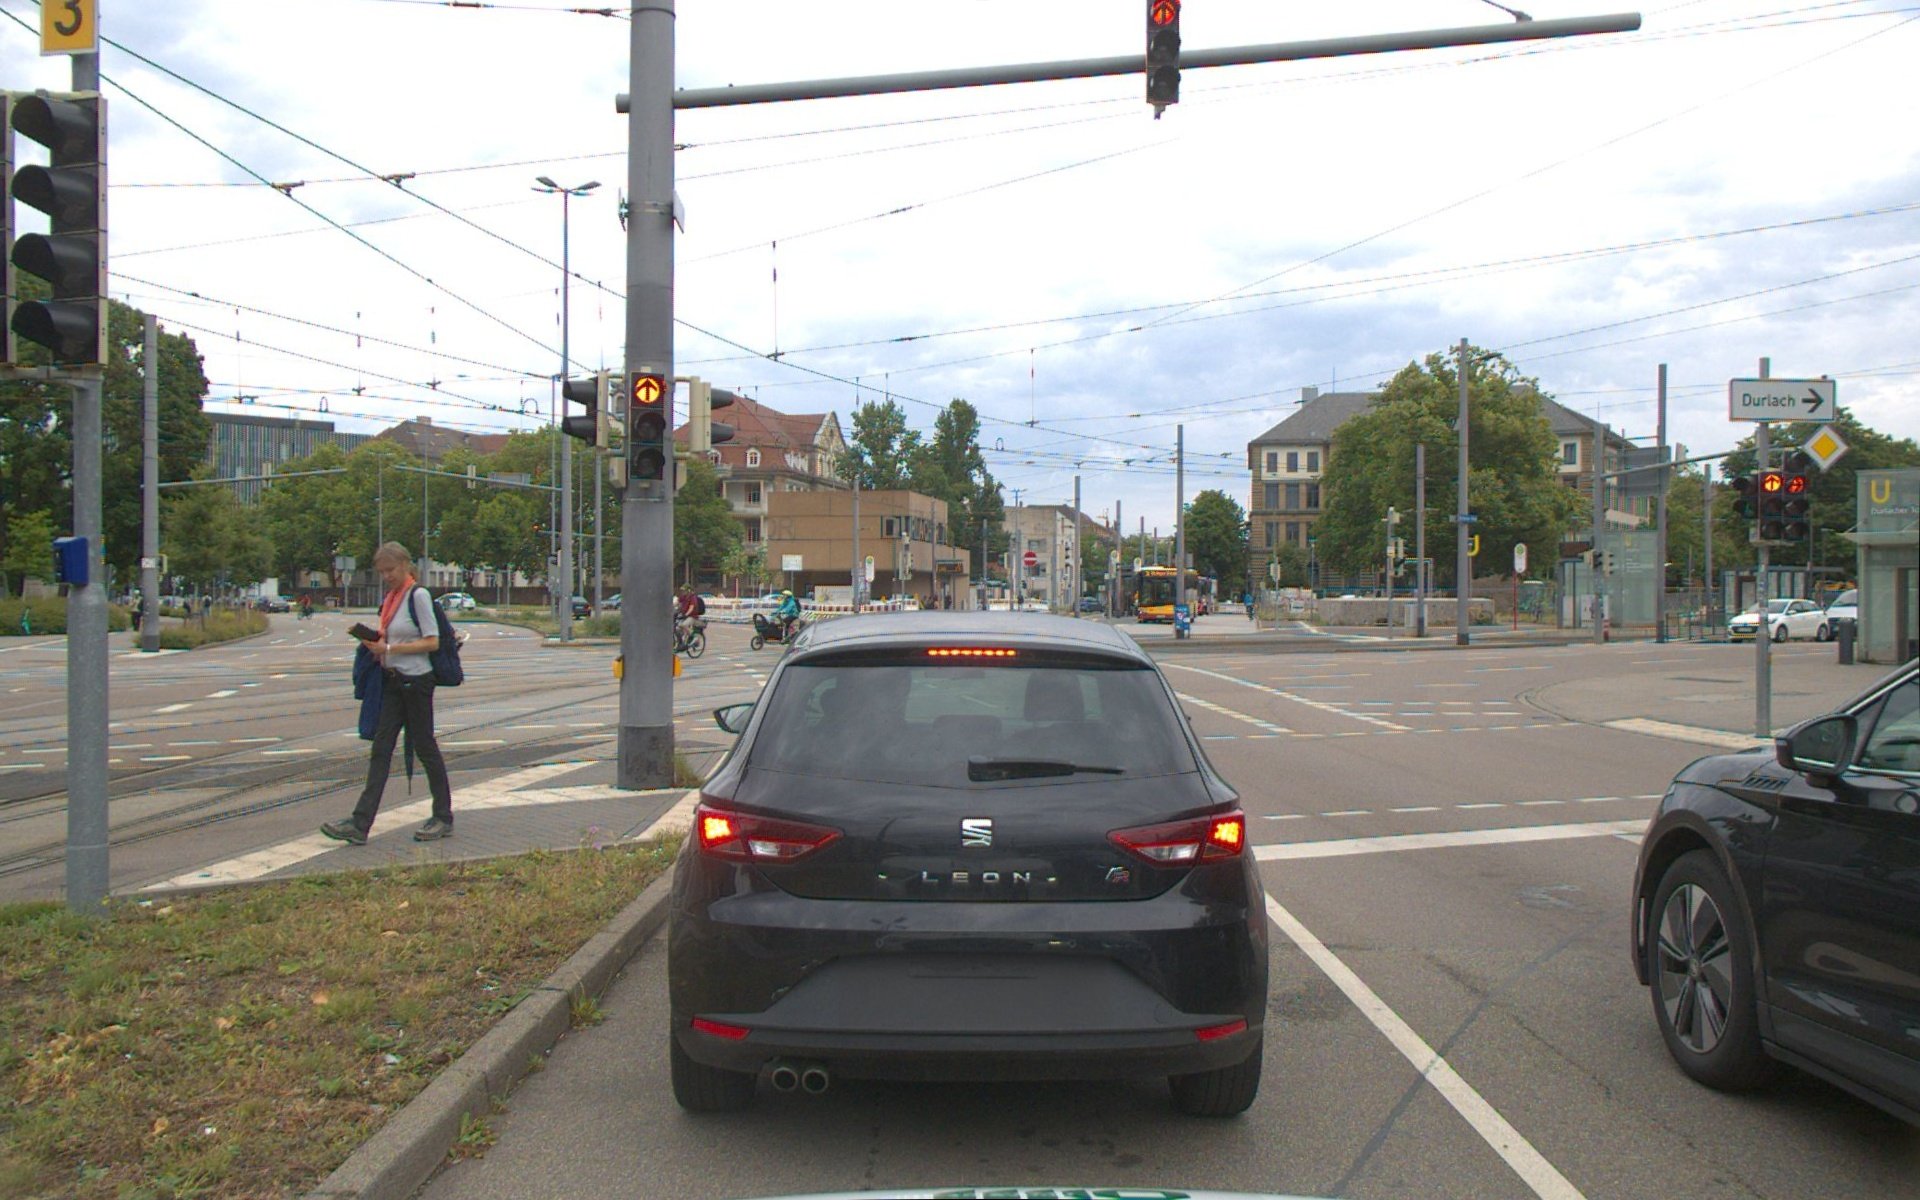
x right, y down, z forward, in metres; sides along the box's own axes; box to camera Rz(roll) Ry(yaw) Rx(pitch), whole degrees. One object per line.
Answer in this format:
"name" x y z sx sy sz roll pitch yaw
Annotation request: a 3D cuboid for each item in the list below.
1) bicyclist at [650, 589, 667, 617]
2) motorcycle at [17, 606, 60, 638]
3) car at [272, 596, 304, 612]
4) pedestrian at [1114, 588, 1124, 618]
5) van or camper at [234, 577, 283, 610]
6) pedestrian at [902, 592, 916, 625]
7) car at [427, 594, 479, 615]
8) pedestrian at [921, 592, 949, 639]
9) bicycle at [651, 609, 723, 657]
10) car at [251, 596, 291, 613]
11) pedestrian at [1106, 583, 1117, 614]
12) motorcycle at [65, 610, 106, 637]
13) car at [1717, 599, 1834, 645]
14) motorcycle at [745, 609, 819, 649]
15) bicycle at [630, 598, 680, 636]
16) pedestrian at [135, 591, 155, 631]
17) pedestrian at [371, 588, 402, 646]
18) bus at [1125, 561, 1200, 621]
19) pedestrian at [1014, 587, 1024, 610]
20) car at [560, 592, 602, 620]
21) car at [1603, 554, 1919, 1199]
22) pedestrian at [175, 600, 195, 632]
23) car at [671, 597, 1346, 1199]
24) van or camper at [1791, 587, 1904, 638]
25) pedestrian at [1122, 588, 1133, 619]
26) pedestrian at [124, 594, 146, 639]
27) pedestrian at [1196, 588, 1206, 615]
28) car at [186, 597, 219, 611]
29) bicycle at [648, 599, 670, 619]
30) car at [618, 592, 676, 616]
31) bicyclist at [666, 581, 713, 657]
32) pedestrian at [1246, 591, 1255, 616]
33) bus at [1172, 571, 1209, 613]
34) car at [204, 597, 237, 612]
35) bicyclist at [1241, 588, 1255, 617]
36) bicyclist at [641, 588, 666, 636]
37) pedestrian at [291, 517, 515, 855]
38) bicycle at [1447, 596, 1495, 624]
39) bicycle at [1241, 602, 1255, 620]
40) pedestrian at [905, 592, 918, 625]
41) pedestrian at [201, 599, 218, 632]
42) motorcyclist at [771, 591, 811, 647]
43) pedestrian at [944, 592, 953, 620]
"bicyclist" -18.935 0.208 103.794 0.870 1.762 0.888 0 0 -22
"motorcycle" -37.892 0.880 67.999 0.503 1.290 1.463 0 0 43
"car" -68.020 0.393 167.447 1.767 1.489 3.938 0 1 -42
"pedestrian" 10.187 0.183 105.782 0.608 1.951 0.711 0 0 2
"van or camper" -69.245 -0.622 163.186 5.403 3.179 2.382 0 0 41
"pedestrian" -2.987 0.495 96.516 0.693 1.951 0.624 0 0 7
"car" -43.144 0.358 140.762 3.902 1.803 1.717 0 0 5
"pedestrian" -1.059 0.666 69.984 0.687 1.968 1.026 0 0 38
"bicycle" -7.026 0.834 42.668 0.760 1.205 2.030 0 0 27
"car" -59.322 0.381 142.352 3.930 1.489 1.770 0 0 43
"pedestrian" 9.535 -0.103 104.198 0.608 1.951 0.699 0 0 9
"motorcycle" -36.973 0.982 69.941 0.499 1.130 1.746 0 0 12
"car" 27.521 0.735 55.779 3.948 1.490 1.756 0 -1 -32
"motorcycle" -5.329 0.869 49.648 2.115 1.159 0.735 0 0 -34
"bicycle" -10.808 0.604 58.629 1.701 1.345 0.643 0 0 -15
"pedestrian" -41.039 0.553 83.321 0.787 2.016 0.870 1 -2 -35
"pedestrian" -20.355 0.605 58.685 1.006 2.049 0.841 0 0 -20
"bus" 11.560 -0.519 93.630 2.897 3.178 11.548 0 0 14
"pedestrian" 4.884 -0.112 137.822 0.609 1.952 0.710 -1 -1 25
"car" -23.944 0.385 104.385 1.966 1.713 3.973 0 -1 -22
"car" 3.270 0.704 3.767 1.741 1.625 4.508 0 0 -2
"pedestrian" -48.819 0.996 104.216 0.859 2.016 0.796 -1 -1 9
"car" -0.016 0.735 5.976 1.671 1.474 3.808 0 0 -5
"van or camper" 32.119 0.474 59.839 4.257 1.773 1.974 0 -1 -36
"pedestrian" 10.607 0.199 104.764 0.608 1.951 0.699 0 0 9
"pedestrian" -37.444 0.759 75.079 0.787 2.016 0.870 1 -2 -35
"pedestrian" 18.166 0.094 124.614 0.648 2.049 0.691 0 0 -1
"car" -80.696 0.427 176.152 3.926 1.489 1.772 1 1 41
"bicycle" -18.859 0.573 103.634 0.879 1.199 2.286 0 0 -22
"car" -23.171 0.328 122.673 3.905 1.713 2.000 0 -1 0
"bicyclist" -6.992 0.472 42.726 0.760 1.931 0.996 0 0 28
"pedestrian" 23.847 0.305 135.673 0.648 2.049 0.691 0 0 -1
"bus" 19.161 -0.650 136.959 2.597 3.340 11.004 0 0 10
"car" -75.354 0.435 168.551 3.932 1.489 1.770 1 1 44
"bicyclist" 19.118 0.146 109.820 0.852 1.884 1.048 0 0 12
"bicyclist" -10.872 0.413 58.613 0.839 1.702 0.652 0 0 -13
"pedestrian" -3.406 0.496 10.143 1.096 1.940 0.724 1 -1 -44
"bicycle" 25.529 0.499 82.634 2.214 1.354 0.707 -1 -1 6
"bicycle" 19.080 0.715 109.584 0.847 1.124 2.304 0 0 11
"pedestrian" -2.869 0.509 97.314 0.693 1.951 0.624 0 0 7
"pedestrian" -46.927 0.966 103.412 0.865 2.016 0.791 0 -1 -19
"motorcyclist" -5.098 0.570 49.816 0.968 1.678 0.741 0 -1 -34
"pedestrian" -0.784 0.404 113.466 0.608 1.951 0.711 0 0 2
